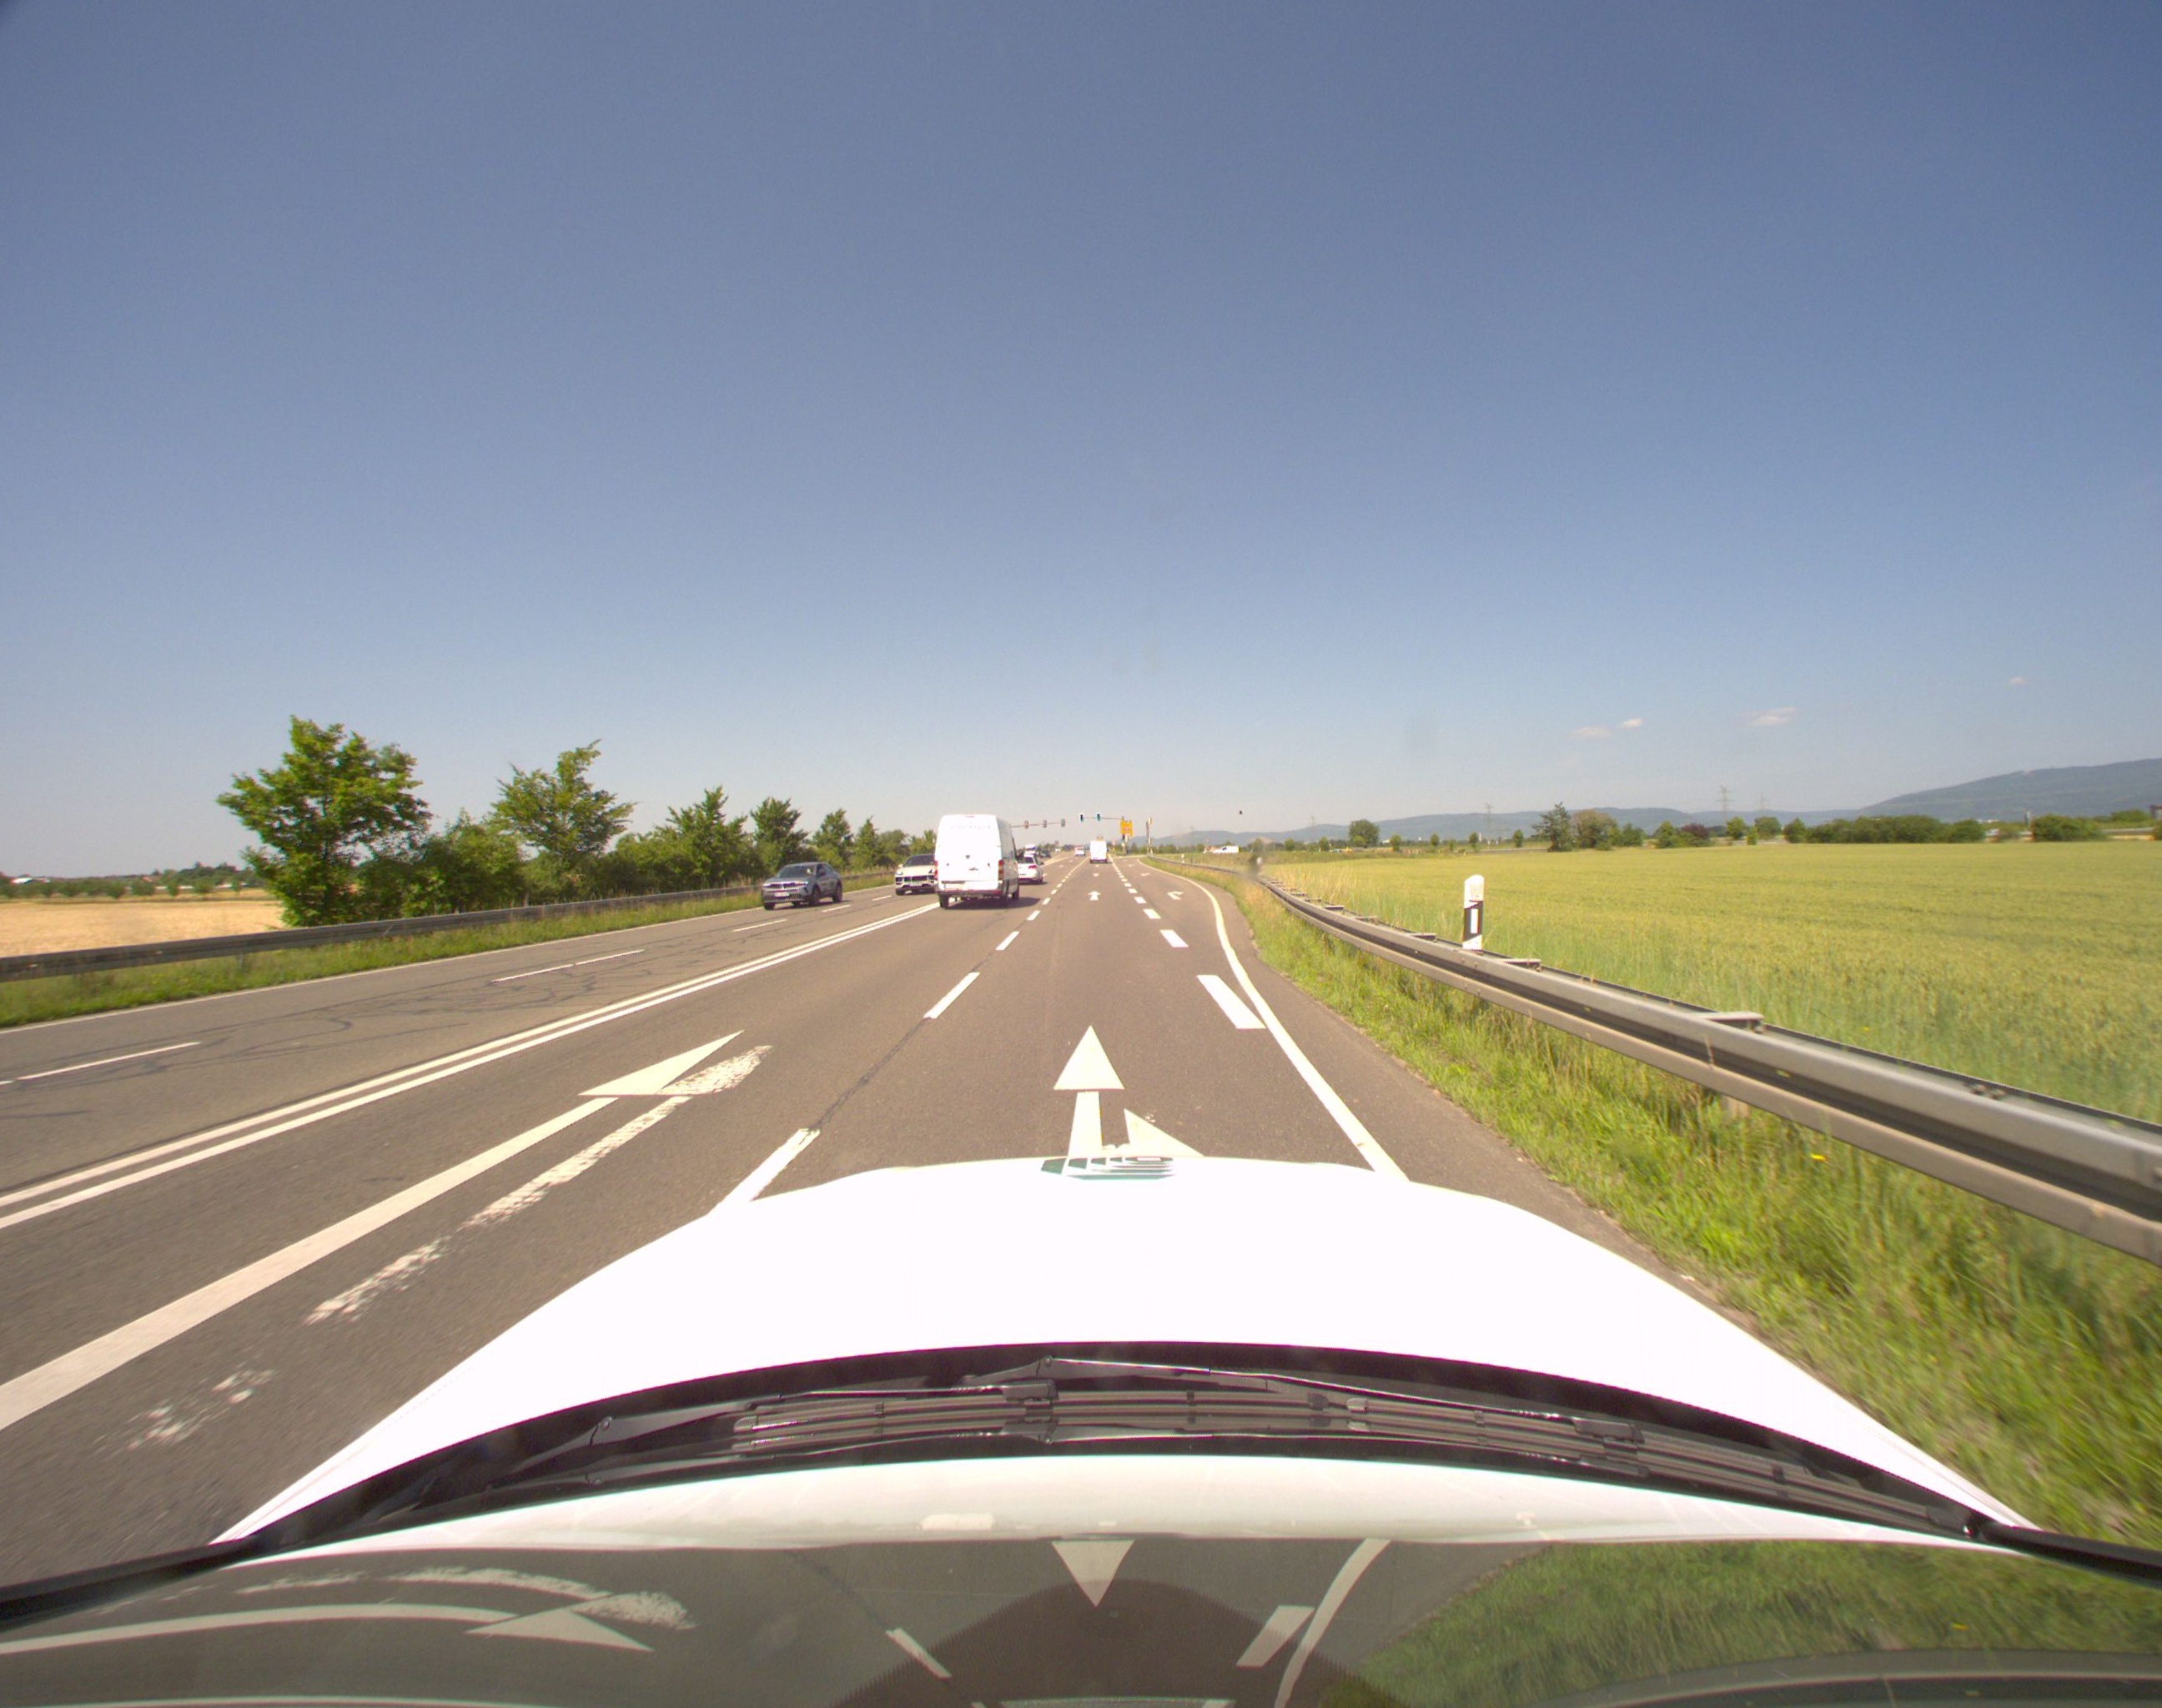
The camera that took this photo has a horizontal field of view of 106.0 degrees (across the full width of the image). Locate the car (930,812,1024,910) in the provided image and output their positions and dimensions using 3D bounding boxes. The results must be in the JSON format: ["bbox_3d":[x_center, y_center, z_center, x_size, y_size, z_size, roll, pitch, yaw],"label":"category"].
[{"bbox_3d":[-3.039,0.182,25.106,2.032,2.620,5.741,-1,0,0],"label":"car"}]

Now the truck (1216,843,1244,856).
[{"bbox_3d":[28.357,-0.832,154.591,4.850,2.320,1.991,0,-1,-14],"label":"truck"}]

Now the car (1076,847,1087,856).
[{"bbox_3d":[0.105,-0.497,151.261,1.986,1.703,4.276,0,-1,1],"label":"car"}]

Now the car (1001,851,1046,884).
[{"bbox_3d":[-2.787,0.616,40.336,1.793,1.508,4.197,-1,0,1],"label":"car"}]

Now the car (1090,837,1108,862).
[{"bbox_3d":[2.060,-0.529,92.664,1.986,2.695,4.970,-1,0,1],"label":"car"}]

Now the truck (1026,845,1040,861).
[{"bbox_3d":[-9.277,-0.118,157.743,2.288,2.957,5.286,-1,-1,2],"label":"truck"}]

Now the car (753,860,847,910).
[{"bbox_3d":[-9.831,1.033,28.843,1.813,1.508,4.127,-4,0,0],"label":"car"}]

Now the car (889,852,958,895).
[{"bbox_3d":[-6.671,0.757,34.996,1.834,1.587,4.876,-4,0,1],"label":"car"}]

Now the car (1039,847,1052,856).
[{"bbox_3d":[-6.308,-0.426,144.666,1.850,1.423,4.002,-1,-1,2],"label":"car"}]
